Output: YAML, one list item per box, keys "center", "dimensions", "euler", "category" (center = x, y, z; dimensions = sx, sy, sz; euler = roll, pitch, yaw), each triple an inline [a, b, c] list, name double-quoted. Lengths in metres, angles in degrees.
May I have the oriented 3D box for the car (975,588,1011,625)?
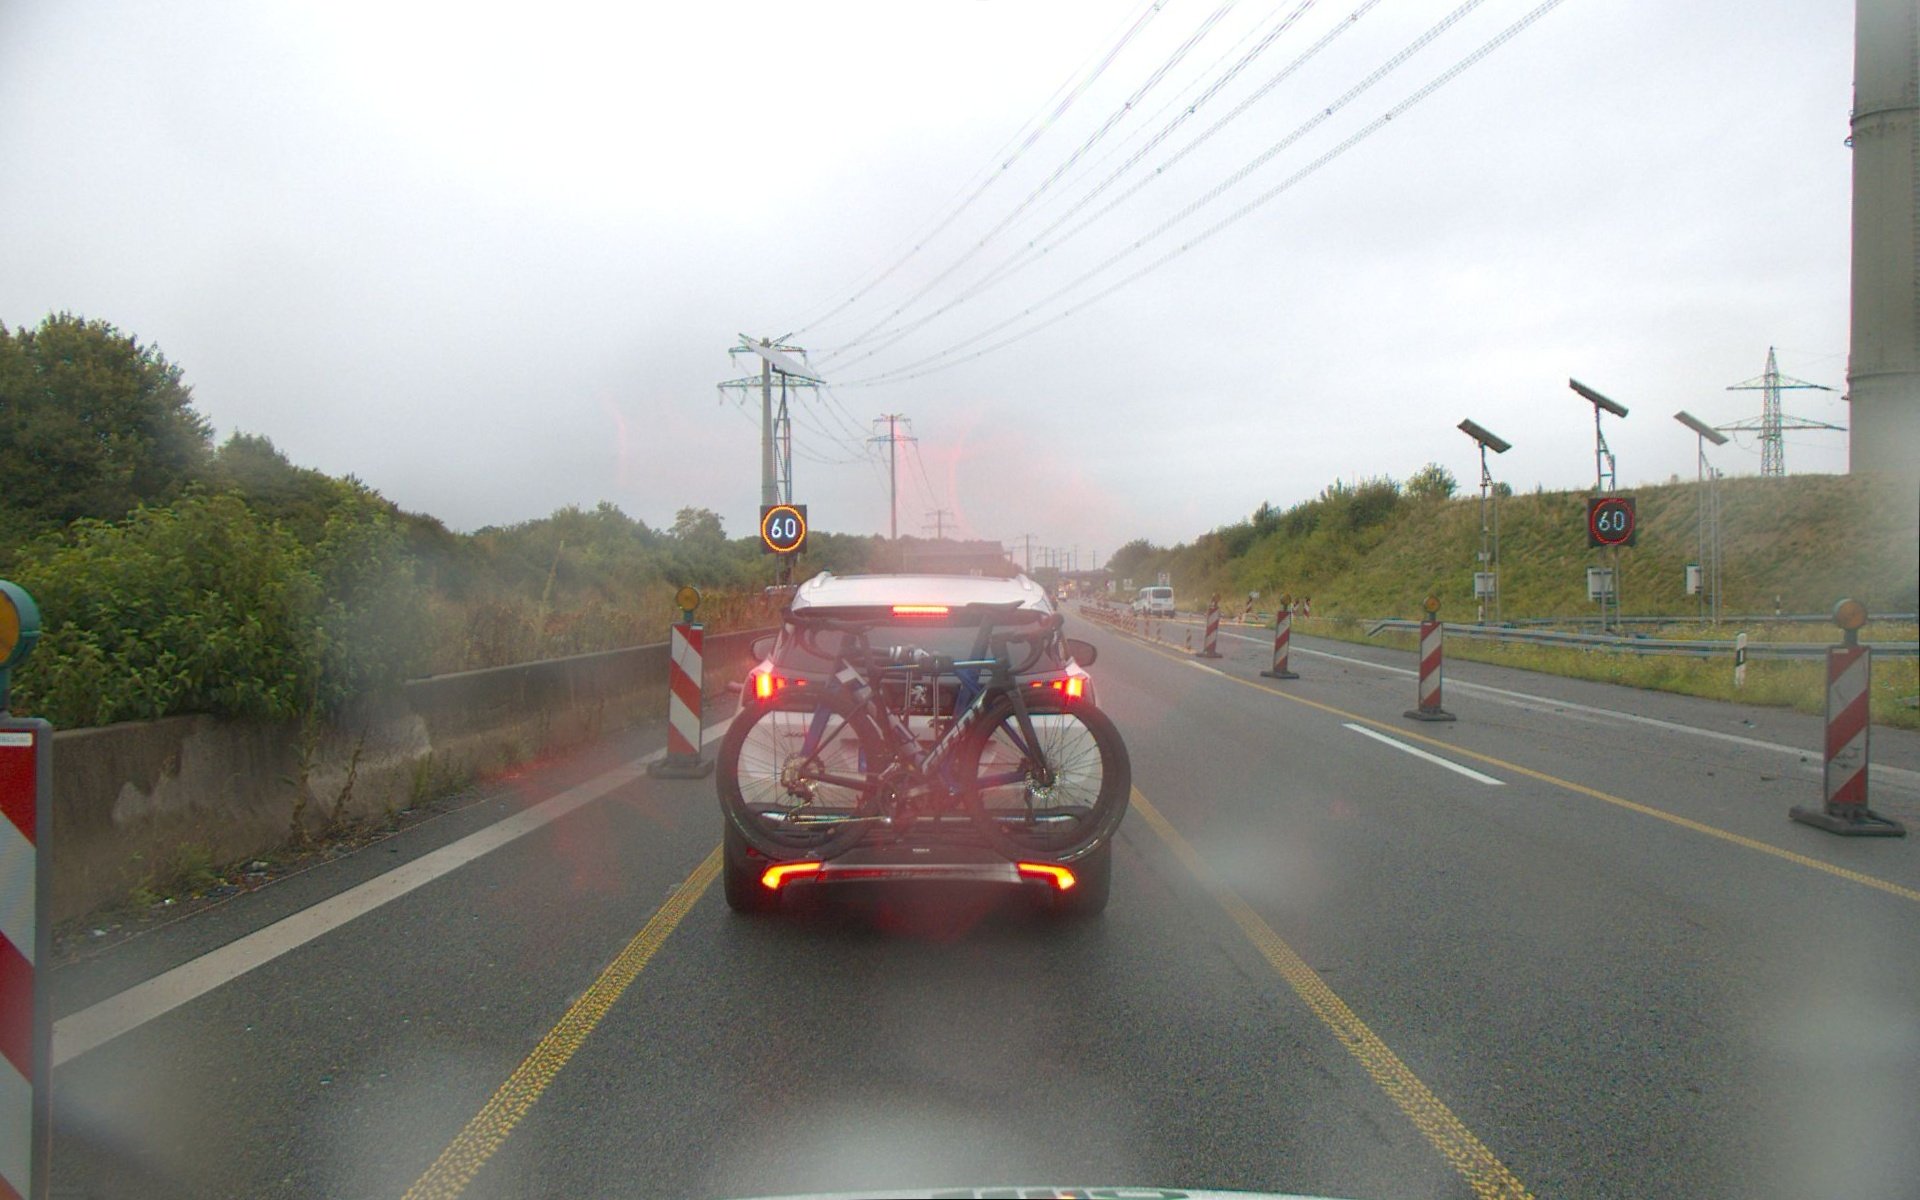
- center: [1.910, 0.369, 96.288]
  dimensions: [1.953, 2.049, 3.999]
  euler: [1, 0, -1]
  category: "car"

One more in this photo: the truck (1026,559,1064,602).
- center: [9.062, -2.149, 177.417]
  dimensions: [3.654, 3.887, 11.875]
  euler: [1, 4, 1]
  category: "truck"

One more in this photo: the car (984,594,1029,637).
- center: [2.285, 0.786, 82.190]
  dimensions: [1.953, 2.049, 3.998]
  euler: [-1, -2, -2]
  category: "car"

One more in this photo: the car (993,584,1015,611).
- center: [3.378, -0.230, 127.147]
  dimensions: [1.619, 2.049, 4.002]
  euler: [0, 0, 3]
  category: "car"

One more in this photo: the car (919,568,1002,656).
- center: [-0.014, 0.262, 41.188]
  dimensions: [1.953, 2.049, 4.000]
  euler: [-1, 1, -1]
  category: "car"

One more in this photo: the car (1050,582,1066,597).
- center: [13.764, -1.459, 233.415]
  dimensions: [1.953, 2.049, 3.999]
  euler: [1, 0, -1]
  category: "car"

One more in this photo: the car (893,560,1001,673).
- center: [-0.271, 0.288, 32.489]
  dimensions: [1.953, 2.049, 3.999]
  euler: [-1, 0, -1]
  category: "car"

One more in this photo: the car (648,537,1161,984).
- center: [-0.156, 0.579, 8.428]
  dimensions: [1.888, 1.639, 4.596]
  euler: [0, 0, 1]
  category: "car"

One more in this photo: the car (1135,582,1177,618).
- center: [11.654, -0.028, 98.660]
  dimensions: [1.953, 2.049, 3.999]
  euler: [-1, 0, -1]
  category: "car"

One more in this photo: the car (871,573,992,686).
- center: [-0.446, 0.463, 29.014]
  dimensions: [1.952, 1.791, 4.000]
  euler: [-1, 1, 0]
  category: "car"

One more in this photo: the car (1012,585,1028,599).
- center: [7.919, -1.049, 219.481]
  dimensions: [1.953, 1.765, 3.782]
  euler: [-1, 1, -1]
  category: "car"

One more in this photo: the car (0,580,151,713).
- center: [-12.312, 0.558, 20.983]
  dimensions: [1.830, 1.570, 4.746]
  euler: [-1, 1, -1]
  category: "car"

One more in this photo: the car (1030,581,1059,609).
- center: [6.418, -0.382, 126.019]
  dimensions: [1.953, 2.049, 3.999]
  euler: [1, 0, -1]
  category: "car"

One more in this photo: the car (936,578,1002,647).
- center: [0.253, 0.391, 51.813]
  dimensions: [1.953, 2.049, 3.999]
  euler: [1, 0, -1]
  category: "car"

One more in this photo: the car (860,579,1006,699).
- center: [-0.399, 0.509, 24.304]
  dimensions: [1.953, 1.611, 3.999]
  euler: [0, 0, -1]
  category: "car"
